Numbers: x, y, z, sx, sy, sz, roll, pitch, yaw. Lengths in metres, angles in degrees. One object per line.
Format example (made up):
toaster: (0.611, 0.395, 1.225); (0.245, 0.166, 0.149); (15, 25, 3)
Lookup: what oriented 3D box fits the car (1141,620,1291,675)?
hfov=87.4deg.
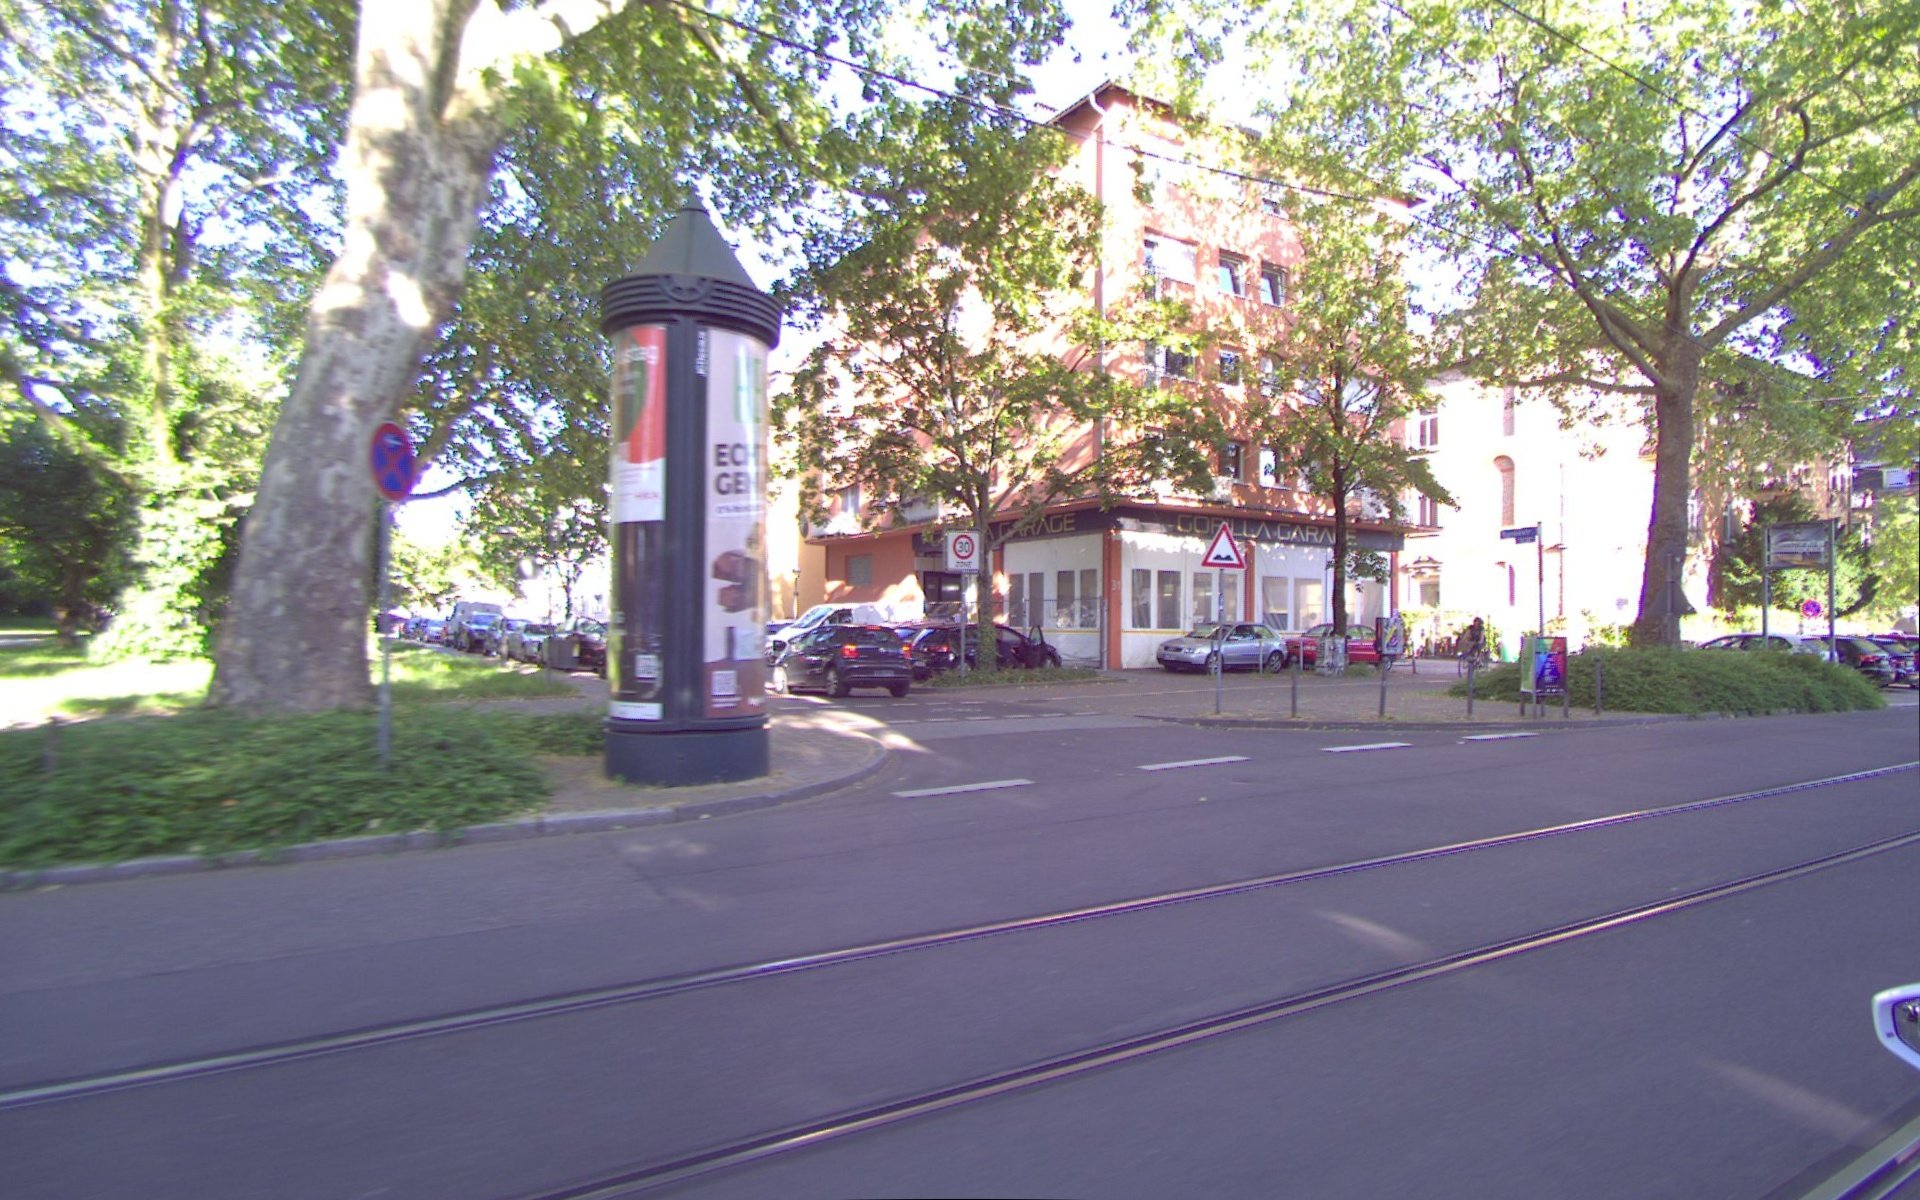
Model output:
car: (7.165, 1.297, 28.097); (3.847, 1.426, 1.938); (1, -1, -31)

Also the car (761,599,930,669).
car: (-3.515, 1.038, 31.303); (4.871, 2.030, 1.980); (2, -1, -35)

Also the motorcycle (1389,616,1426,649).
motorcycle: (18.582, 1.350, 41.693); (1.609, 1.306, 0.596); (1, -1, -32)

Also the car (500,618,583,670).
car: (-13.347, 1.361, 31.935); (1.672, 1.469, 3.682); (1, -1, -35)

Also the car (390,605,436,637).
car: (-36.380, 1.362, 66.767); (1.982, 2.040, 4.695); (1, -1, -37)

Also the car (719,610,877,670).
car: (-5.415, 1.321, 33.792); (4.870, 1.869, 1.981); (2, -1, -35)

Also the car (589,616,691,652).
car: (-15.846, 1.674, 49.843); (4.444, 1.639, 1.929); (2, -1, -39)

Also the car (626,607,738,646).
car: (-12.356, 1.196, 44.777); (4.444, 1.639, 1.929); (2, -1, -39)

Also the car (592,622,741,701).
car: (-6.753, 1.307, 22.776); (1.842, 1.508, 4.496); (1, -1, -36)

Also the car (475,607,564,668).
car: (-15.894, 1.291, 36.161); (1.983, 2.040, 3.955); (1, -1, -39)

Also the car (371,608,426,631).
car: (-56.872, 1.991, 101.778); (4.701, 2.274, 1.979); (2, -1, -37)

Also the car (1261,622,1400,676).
car: (11.290, 1.467, 30.592); (3.954, 1.507, 1.938); (1, -1, -31)

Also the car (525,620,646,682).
car: (-10.224, 1.321, 27.229); (1.808, 1.469, 4.433); (1, -1, -38)

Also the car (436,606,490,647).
car: (-26.314, 1.383, 53.134); (1.979, 2.040, 4.701); (1, -1, -33)

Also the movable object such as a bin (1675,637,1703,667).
movable object such as a bin: (27.498, 1.959, 37.892); (0.536, 1.124, 0.721); (1, 0, -29)

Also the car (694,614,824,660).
car: (-7.590, 1.376, 38.175); (4.444, 1.639, 1.929); (2, -1, -39)

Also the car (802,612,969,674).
car: (-2.083, 1.203, 28.996); (4.521, 1.639, 1.977); (2, -1, -40)

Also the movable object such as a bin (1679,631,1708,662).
movable object such as a bin: (27.976, 1.768, 38.297); (0.554, 1.124, 0.720); (1, 0, -29)

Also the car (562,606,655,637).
car: (-19.265, 1.197, 55.172); (4.444, 1.639, 1.929); (2, -1, -39)

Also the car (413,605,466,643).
car: (-30.346, 1.371, 58.466); (1.982, 2.040, 4.695); (1, -1, -37)

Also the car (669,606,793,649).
car: (-9.110, 1.101, 40.168); (4.444, 1.639, 1.929); (2, -1, -39)

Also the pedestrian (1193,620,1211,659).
pedestrian: (10.364, 1.691, 43.010); (0.543, 1.682, 0.500); (1, 0, -31)

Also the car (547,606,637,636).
car: (-20.931, 1.191, 57.161); (4.444, 1.639, 1.929); (2, -1, -39)

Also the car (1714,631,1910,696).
car: (22.200, 1.599, 26.311); (1.666, 1.484, 3.587); (1, -1, -28)

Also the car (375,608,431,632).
car: (-55.348, 1.995, 99.846); (4.701, 2.274, 1.979); (2, -1, -37)

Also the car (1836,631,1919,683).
car: (29.179, 1.722, 30.180); (1.833, 1.484, 3.967); (1, -1, -31)

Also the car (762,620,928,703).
car: (-2.475, 1.183, 20.756); (1.726, 1.468, 3.960); (1, -1, -35)

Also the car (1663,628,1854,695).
car: (20.108, 1.496, 25.423); (1.676, 1.484, 3.405); (1, -1, -28)

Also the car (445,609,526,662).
car: (-19.547, 1.409, 41.257); (1.983, 2.040, 4.692); (1, -1, -38)

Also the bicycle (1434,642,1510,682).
bicycle: (13.917, 1.658, 27.247); (2.563, 1.012, 0.959); (2, -1, -41)

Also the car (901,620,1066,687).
car: (0.644, 1.291, 25.259); (3.969, 1.513, 1.796); (2, -1, -41)

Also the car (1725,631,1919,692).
car: (24.347, 1.666, 28.308); (1.798, 1.484, 4.066); (1, -1, -28)

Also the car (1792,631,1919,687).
car: (26.491, 1.674, 29.008); (1.738, 1.484, 3.405); (1, -1, -28)

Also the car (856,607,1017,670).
car: (-0.594, 1.013, 27.012); (3.968, 1.546, 1.977); (2, -1, -41)

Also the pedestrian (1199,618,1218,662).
pedestrian: (10.456, 1.678, 42.268); (0.514, 1.801, 0.536); (1, 0, -31)

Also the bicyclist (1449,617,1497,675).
bicyclist: (13.920, 1.246, 27.269); (1.108, 1.527, 0.792); (1, -1, -41)

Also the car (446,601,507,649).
car: (-23.430, 1.171, 48.541); (2.022, 2.226, 4.701); (1, -1, -33)
